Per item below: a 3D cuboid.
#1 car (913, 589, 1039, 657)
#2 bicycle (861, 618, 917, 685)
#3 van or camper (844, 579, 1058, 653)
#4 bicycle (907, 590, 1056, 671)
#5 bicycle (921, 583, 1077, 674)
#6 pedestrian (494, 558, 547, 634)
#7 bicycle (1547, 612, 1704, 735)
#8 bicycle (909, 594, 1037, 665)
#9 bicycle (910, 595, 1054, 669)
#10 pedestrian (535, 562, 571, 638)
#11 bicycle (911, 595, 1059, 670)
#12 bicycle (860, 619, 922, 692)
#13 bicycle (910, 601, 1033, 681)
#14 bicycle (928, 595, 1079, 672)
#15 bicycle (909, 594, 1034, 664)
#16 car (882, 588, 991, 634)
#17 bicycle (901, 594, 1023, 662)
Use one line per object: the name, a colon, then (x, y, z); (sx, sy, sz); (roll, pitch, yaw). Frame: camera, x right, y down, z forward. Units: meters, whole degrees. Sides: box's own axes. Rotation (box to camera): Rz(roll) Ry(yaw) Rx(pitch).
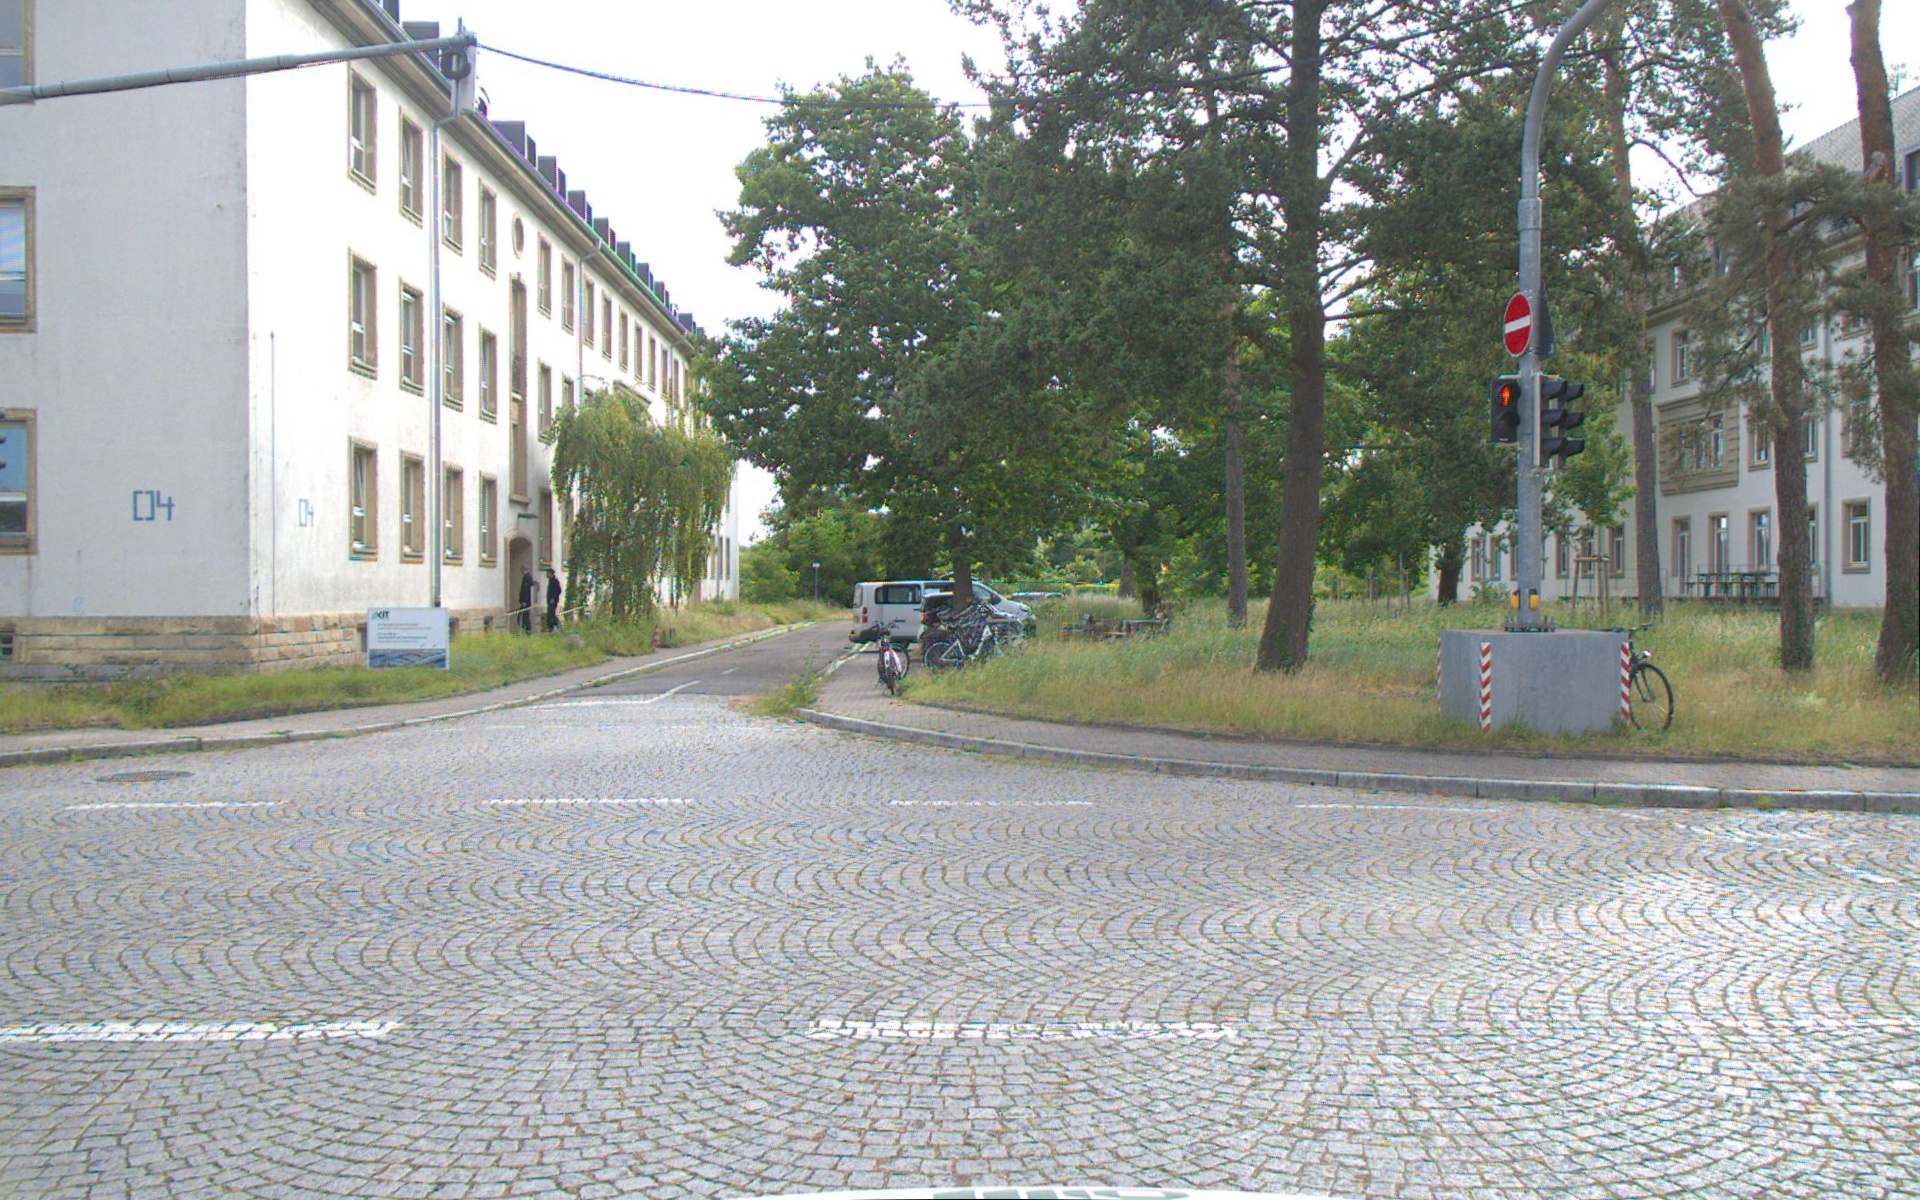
car: (0.381, 0.587, 42.880); (3.160, 1.649, 1.937); (1, 0, -2)
bicycle: (-1.143, 0.818, 26.868); (0.712, 1.014, 1.979); (0, 0, 3)
van or camper: (-0.271, 0.410, 46.296); (5.644, 1.991, 2.230); (0, 0, -14)
bicycle: (0.360, 0.520, 28.804); (2.566, 1.391, 0.874); (0, 0, -2)
bicycle: (0.680, 0.502, 29.682); (2.746, 1.611, 0.950); (0, 0, -2)
pedestrian: (-11.305, -0.105, 42.600); (1.173, 1.902, 1.546); (1, 0, -11)
bicycle: (6.498, 0.687, 16.246); (0.632, 1.081, 1.832); (-4, 0, -4)
bicycle: (0.242, 0.577, 32.993); (2.516, 1.396, 0.950); (0, 0, -3)
bicycle: (0.407, 0.604, 32.033); (2.746, 1.396, 0.950); (0, 0, -2)
pedestrian: (-10.792, -0.001, 43.901); (0.850, 1.966, 0.834); (2, -1, -13)
bicycle: (0.455, 0.601, 31.141); (2.746, 1.396, 0.950); (0, 0, -2)
bicycle: (-1.024, 0.809, 24.778); (0.882, 1.014, 1.978); (0, 0, -2)
bicycle: (0.187, 0.693, 28.188); (2.070, 1.329, 0.874); (0, 0, -2)
bicycle: (0.787, 0.605, 30.615); (2.746, 1.396, 0.950); (0, 0, -2)
bicycle: (0.211, 0.581, 33.832); (2.516, 1.396, 0.950); (0, 0, -3)
car: (-0.875, 0.403, 60.110); (3.908, 1.628, 1.702); (0, 0, -4)
bicycle: (0.032, 0.581, 34.665); (2.516, 1.396, 0.950); (0, 0, -3)
